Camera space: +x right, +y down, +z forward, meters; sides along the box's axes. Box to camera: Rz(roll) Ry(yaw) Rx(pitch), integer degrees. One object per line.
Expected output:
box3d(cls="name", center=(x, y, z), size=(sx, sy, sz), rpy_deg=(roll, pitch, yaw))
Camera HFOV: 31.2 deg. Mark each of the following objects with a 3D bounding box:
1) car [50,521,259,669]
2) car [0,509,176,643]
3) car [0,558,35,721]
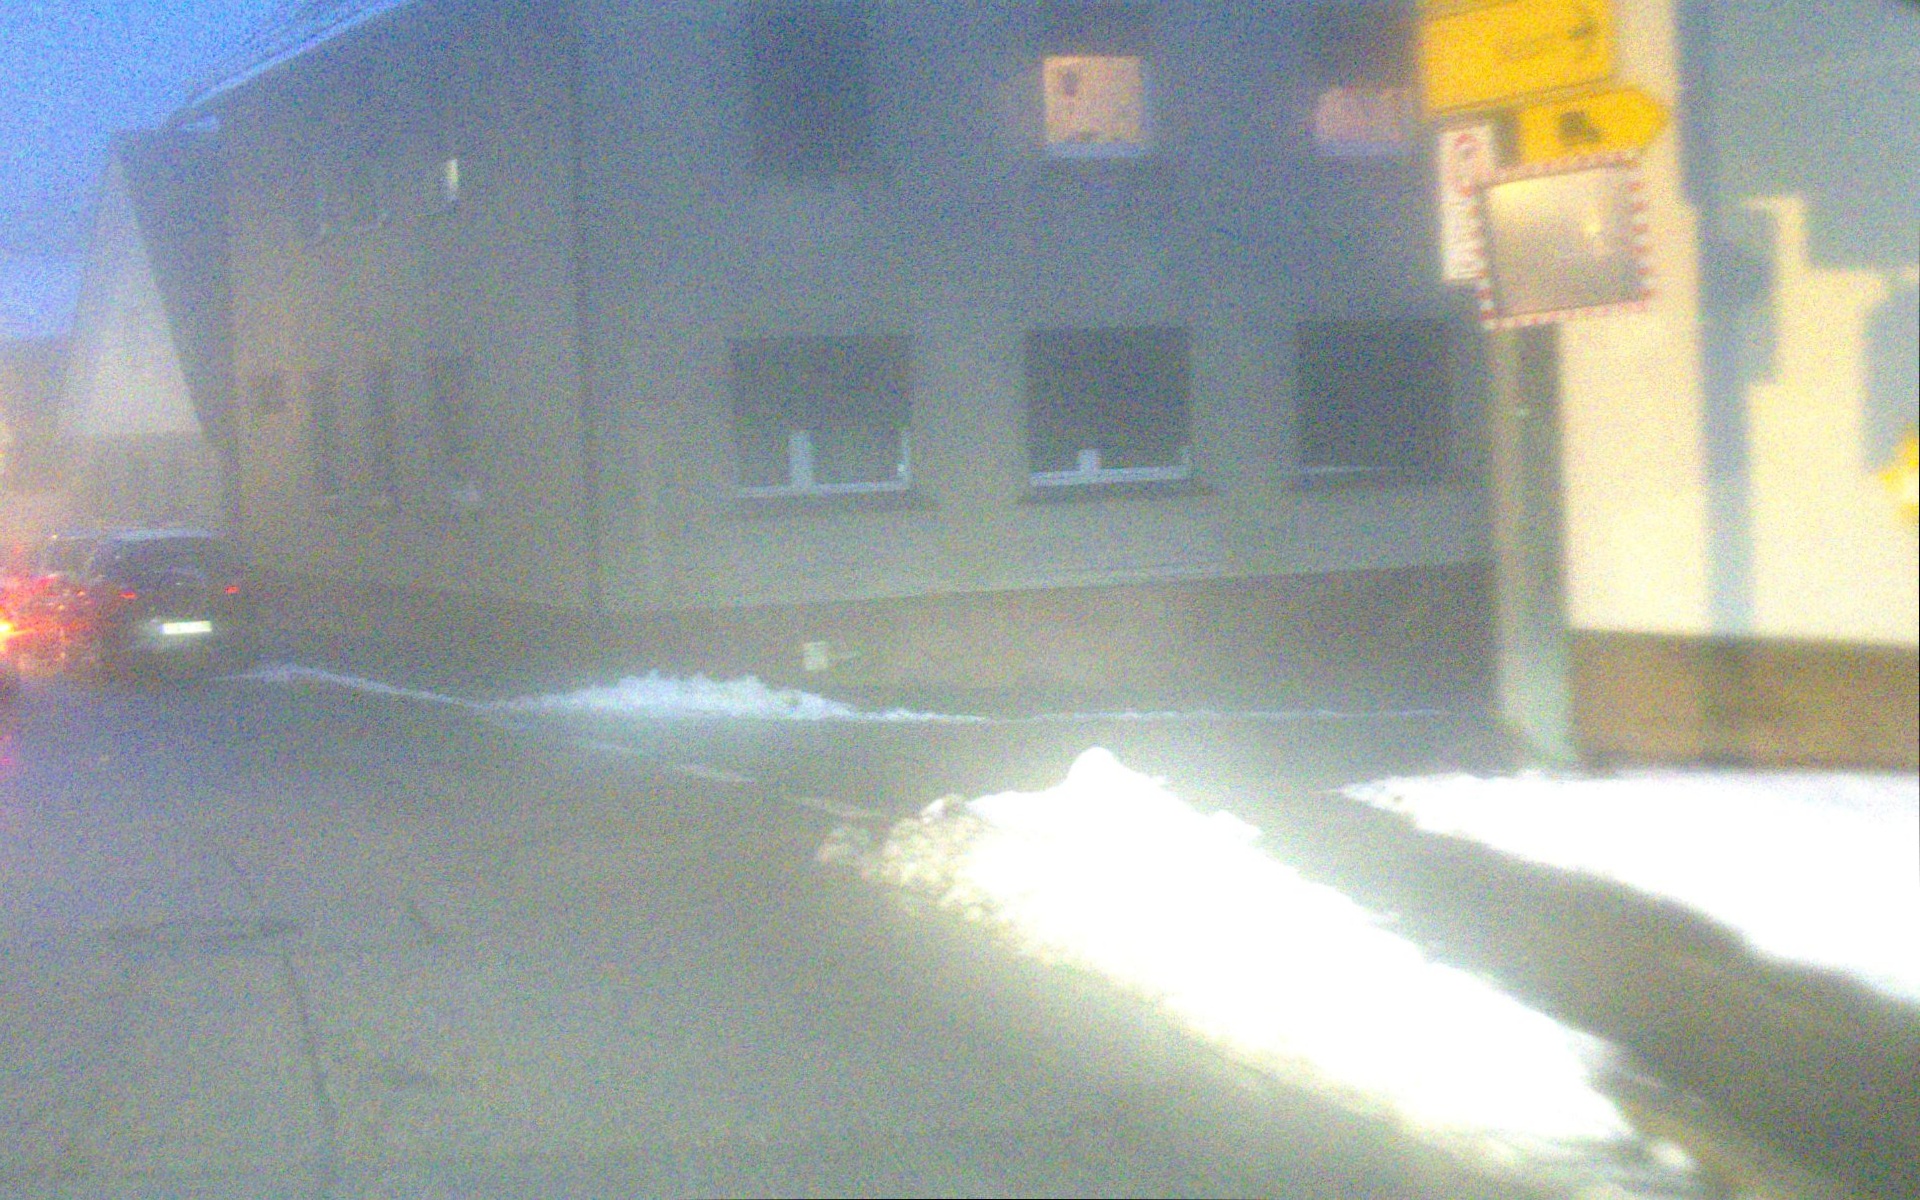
box3d(cls="car", center=(-8.659, -0.048, 36.758), size=(1.716, 1.494, 3.908), rpy_deg=(0, 0, -20))
box3d(cls="car", center=(-10.831, -0.313, 41.811), size=(1.910, 1.476, 4.283), rpy_deg=(-3, 2, -21))
box3d(cls="car", center=(-10.113, 0.370, 33.283), size=(1.993, 1.503, 4.001), rpy_deg=(0, 0, -18))
